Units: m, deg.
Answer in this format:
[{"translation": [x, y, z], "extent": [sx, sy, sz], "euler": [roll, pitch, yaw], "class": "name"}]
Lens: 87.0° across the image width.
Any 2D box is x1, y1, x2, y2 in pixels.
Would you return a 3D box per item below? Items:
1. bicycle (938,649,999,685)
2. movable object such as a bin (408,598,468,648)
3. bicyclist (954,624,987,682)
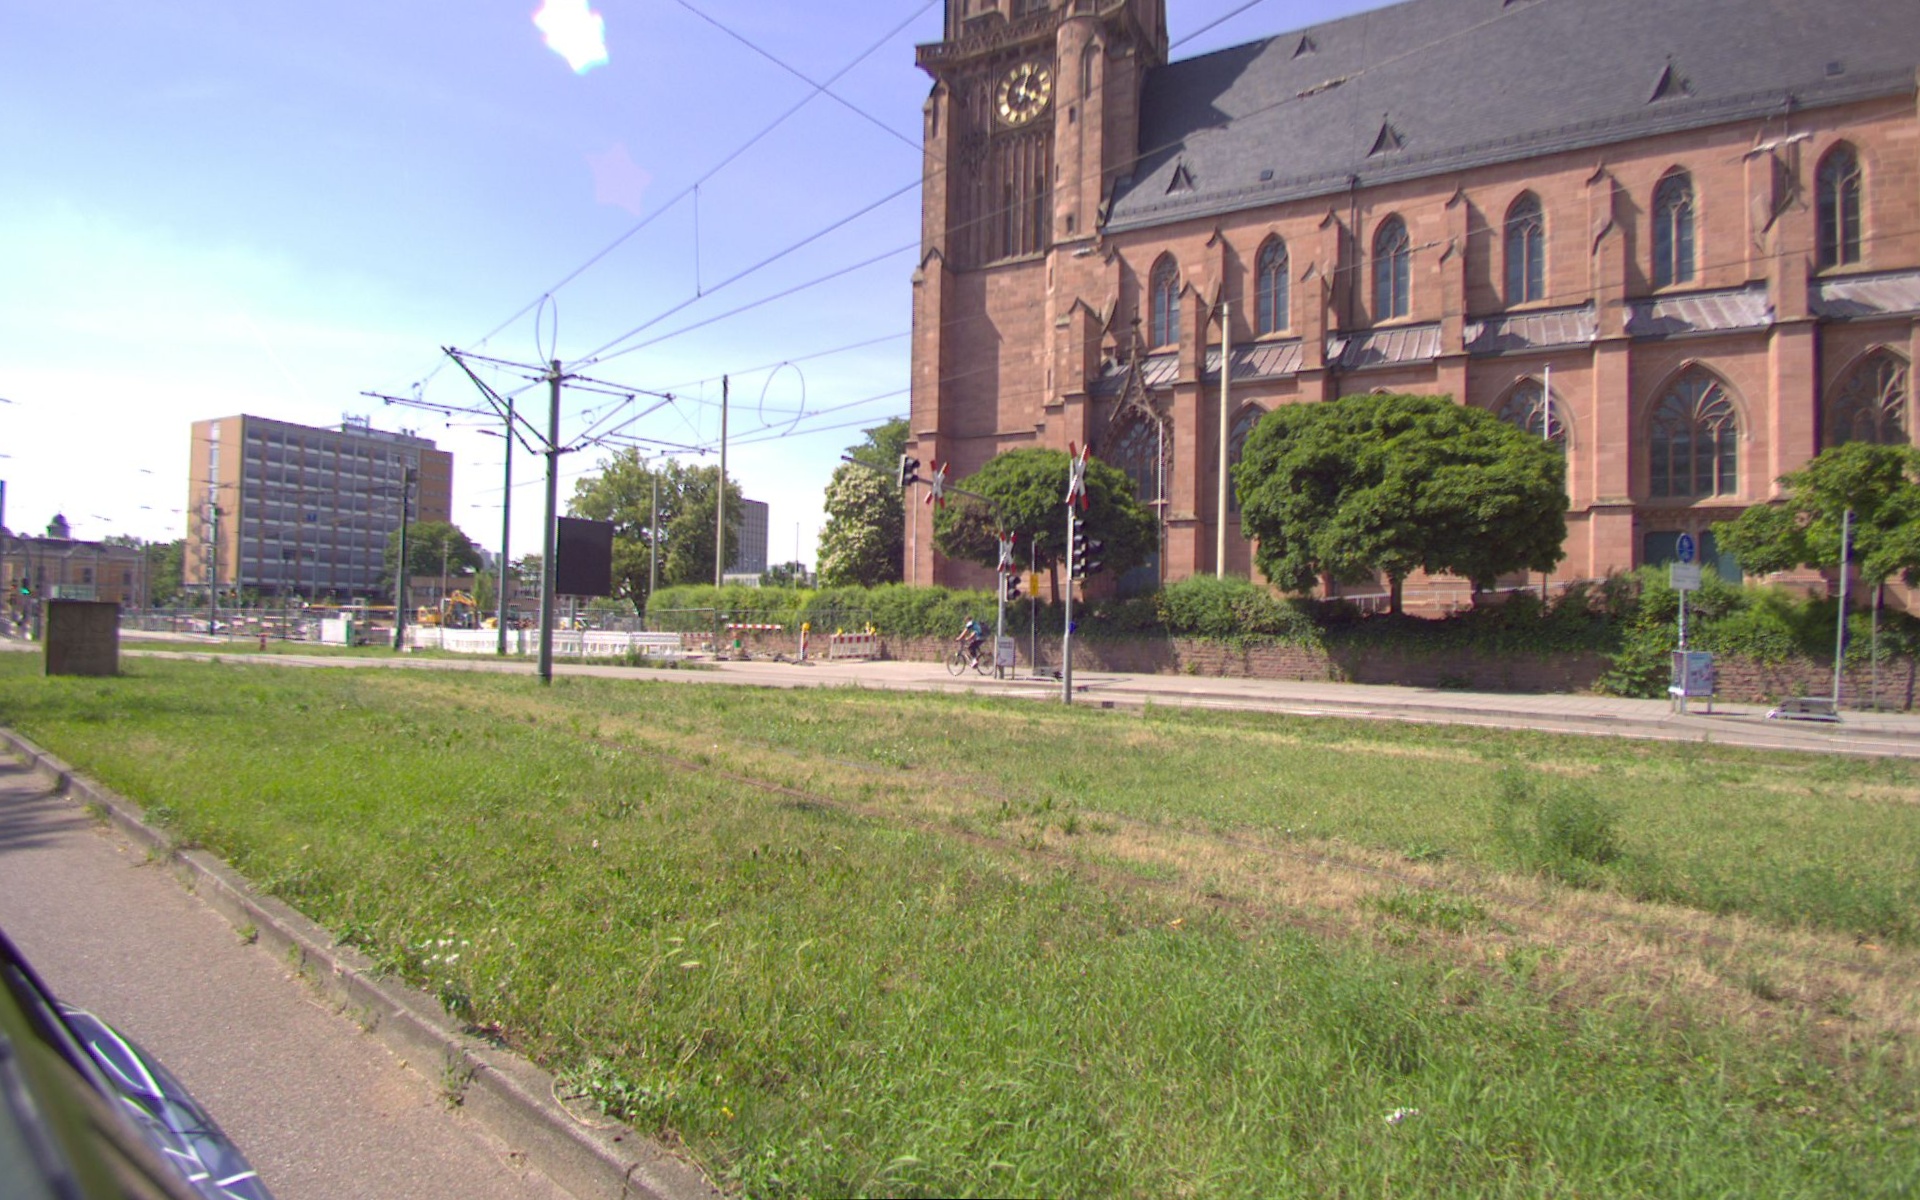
[{"translation": [0.259, 2.104, 31.955], "extent": [1.967, 1.054, 0.648], "euler": [-1, -3, 39], "class": "bicycle"}, {"translation": [-42.419, 1.903, 82.339], "extent": [2.904, 3.911, 3.327], "euler": [1, -2, 7], "class": "movable object such as a bin"}, {"translation": [0.346, 1.670, 31.908], "extent": [0.793, 1.775, 0.637], "euler": [-1, -3, 38], "class": "bicyclist"}]
